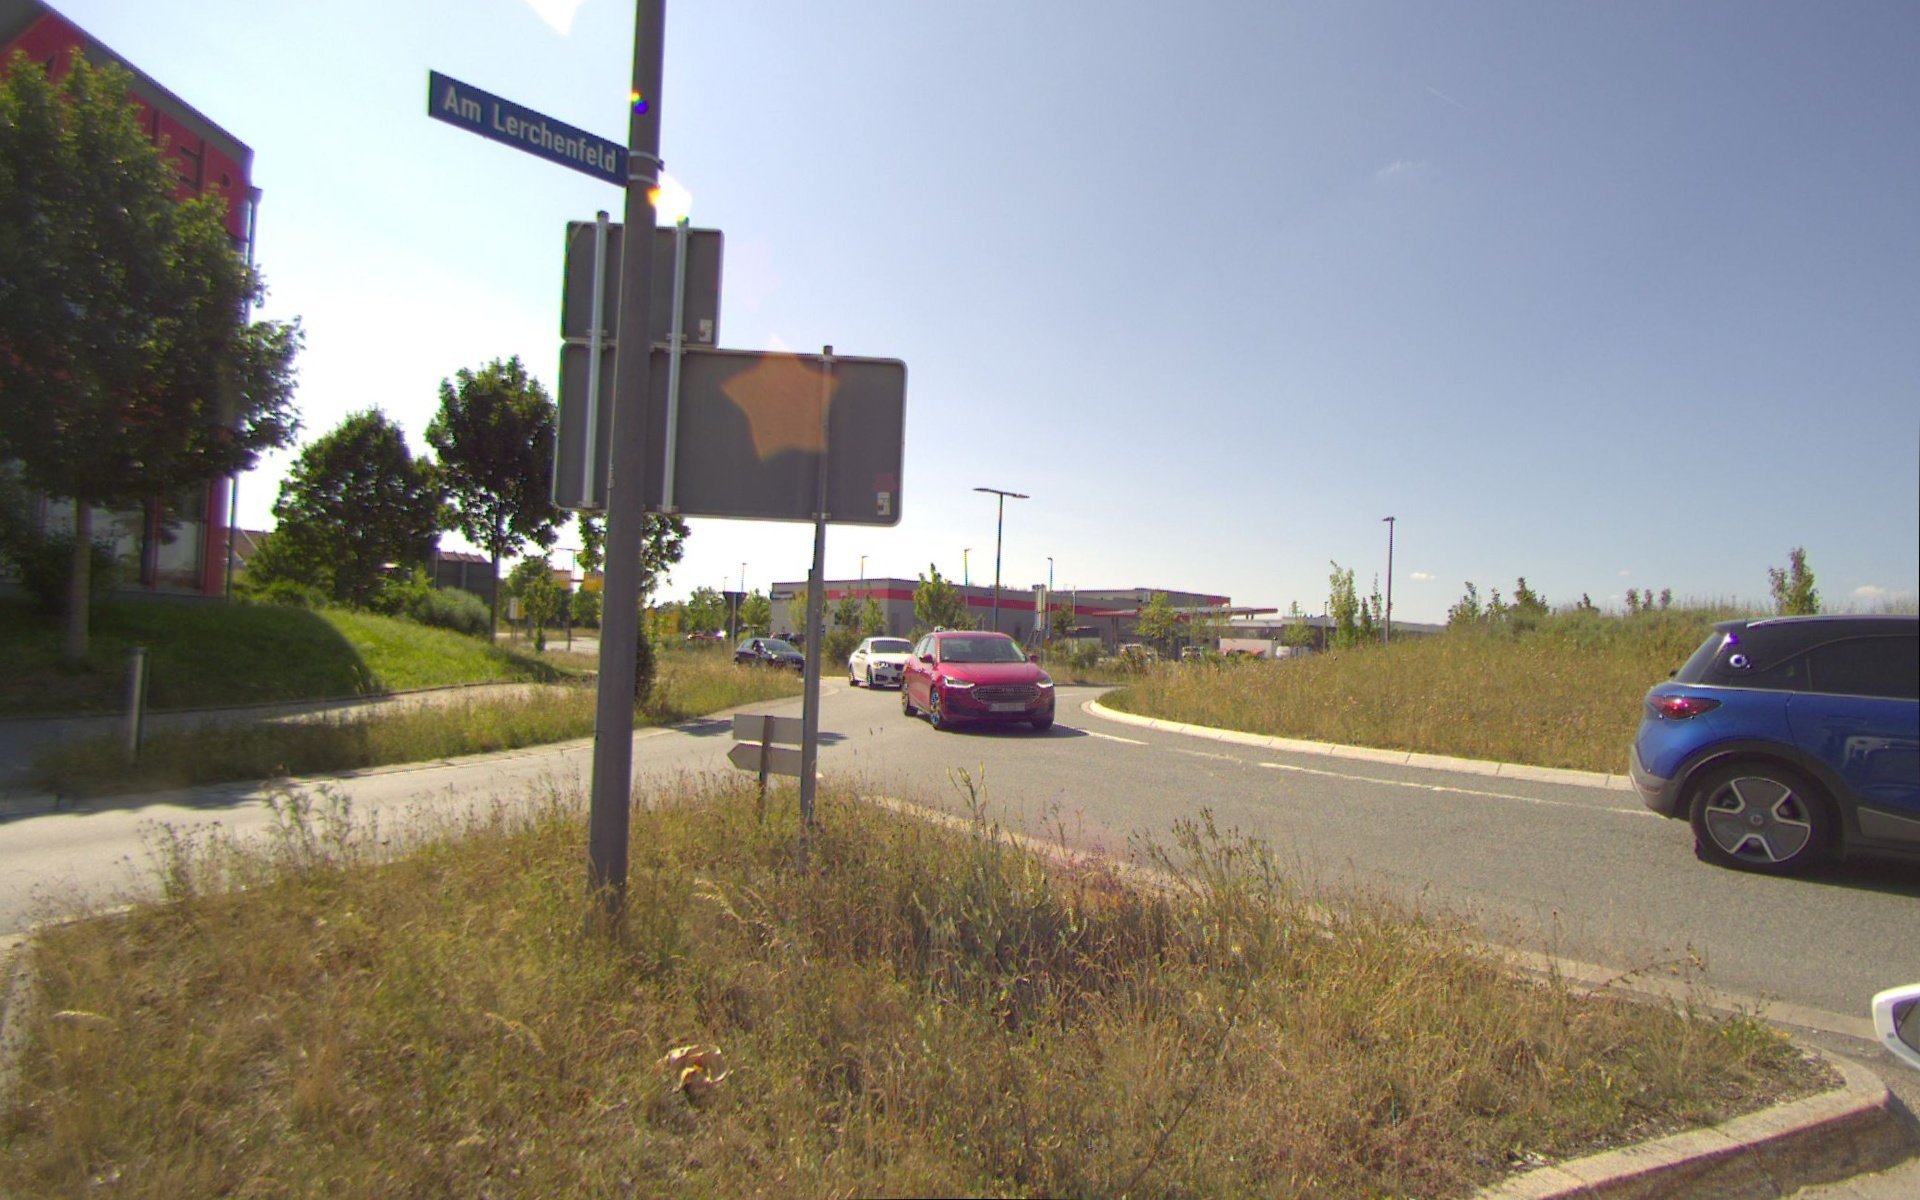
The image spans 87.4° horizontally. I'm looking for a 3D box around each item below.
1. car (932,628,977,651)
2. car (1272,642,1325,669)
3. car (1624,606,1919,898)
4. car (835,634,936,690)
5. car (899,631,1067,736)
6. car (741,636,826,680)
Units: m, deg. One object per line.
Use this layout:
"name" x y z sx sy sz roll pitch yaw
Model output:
"car" -0.502 3.733 94.612 3.972 2.040 1.975 4 -3 -42
"car" 28.359 4.683 84.071 5.099 2.040 1.976 5 -3 -42
"car" 6.519 0.897 6.083 4.018 1.657 1.849 0 -2 39
"car" -2.185 1.800 28.483 1.770 1.434 4.365 2 -5 -19
"car" 0.209 1.231 15.966 1.777 1.434 4.109 1 -2 -12
"car" -6.810 2.185 38.494 1.630 1.507 3.864 2 -2 -37
